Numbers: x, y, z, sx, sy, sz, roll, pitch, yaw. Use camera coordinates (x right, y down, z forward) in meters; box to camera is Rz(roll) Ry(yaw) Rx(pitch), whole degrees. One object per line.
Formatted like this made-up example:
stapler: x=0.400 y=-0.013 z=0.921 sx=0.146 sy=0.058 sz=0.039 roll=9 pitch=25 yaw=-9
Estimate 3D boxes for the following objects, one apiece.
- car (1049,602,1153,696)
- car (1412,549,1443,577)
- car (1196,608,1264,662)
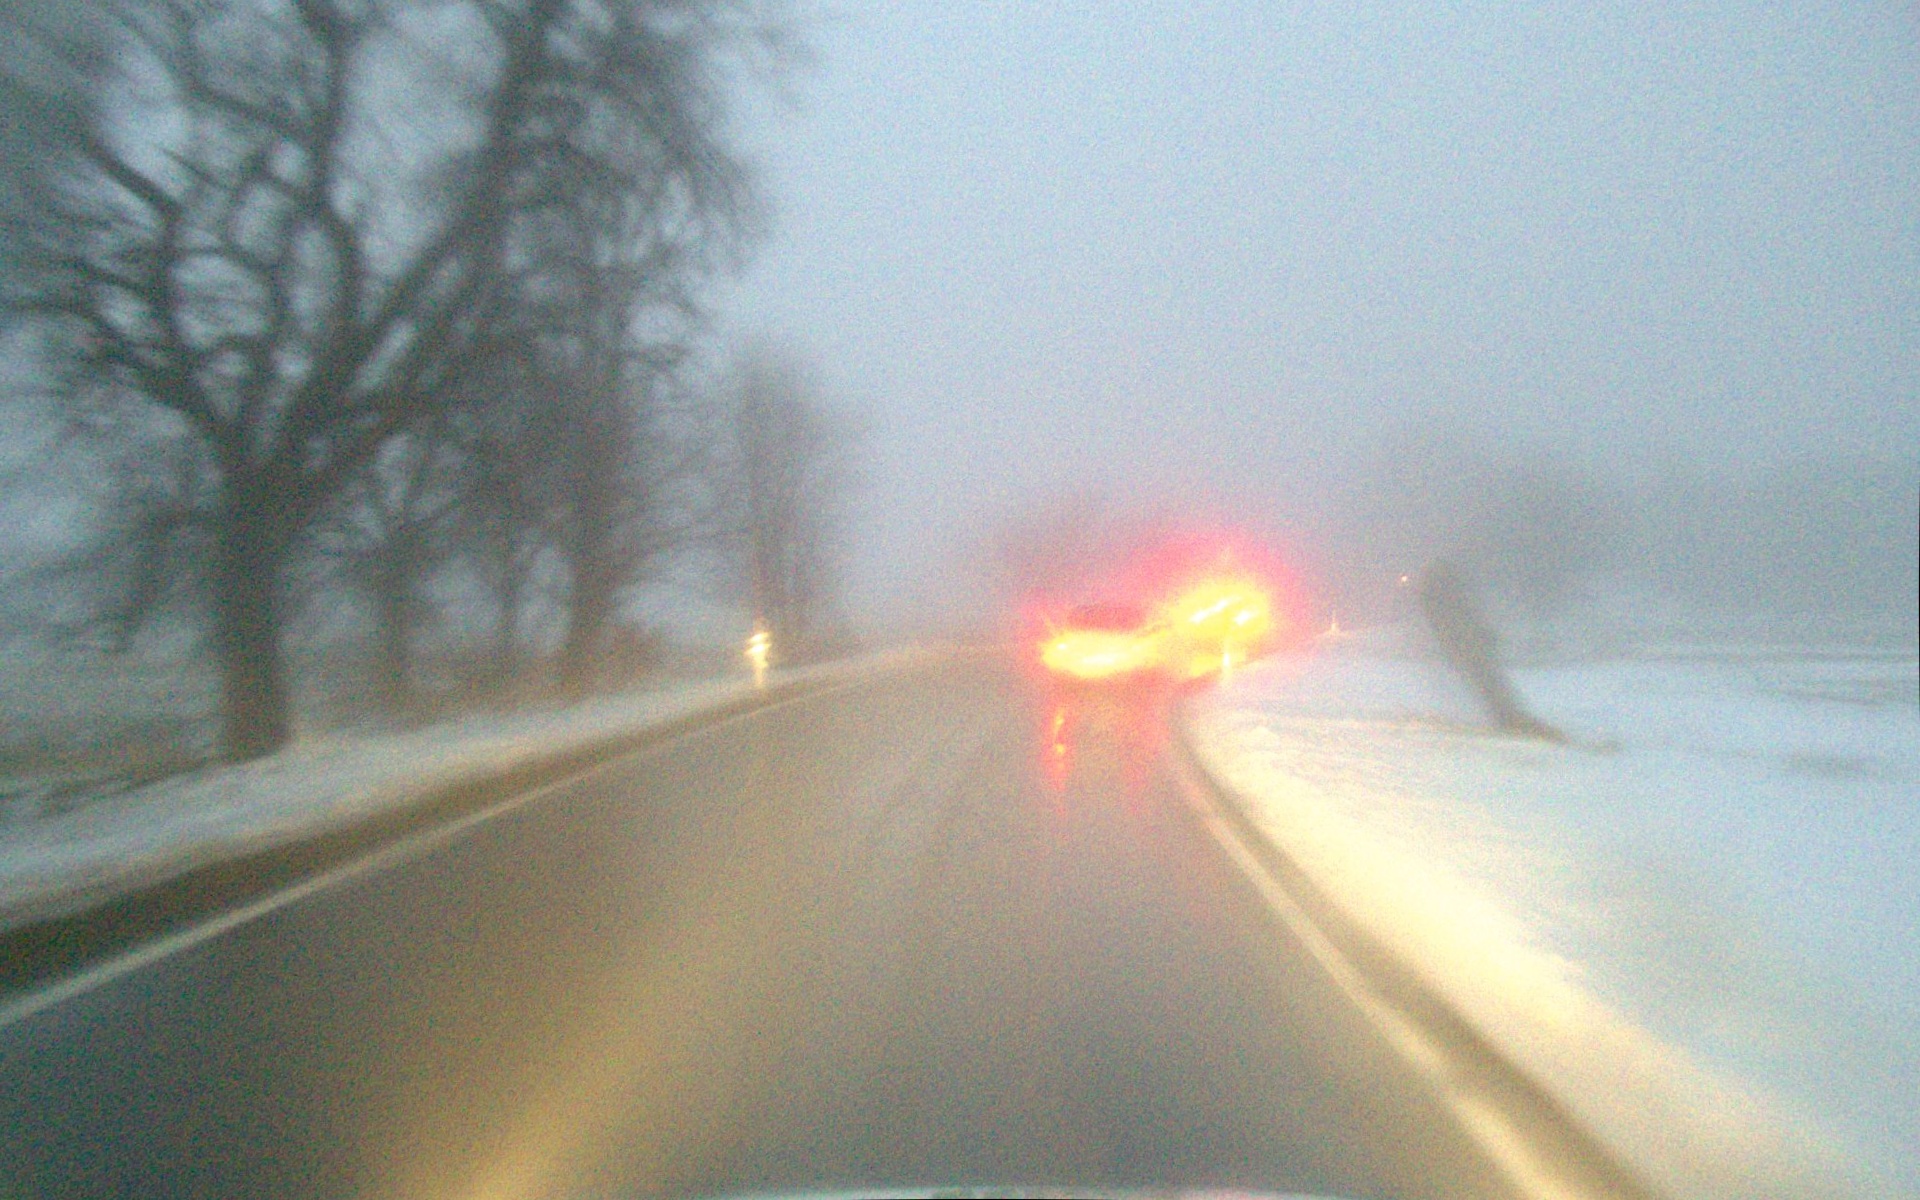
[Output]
car: x=2.480 y=0.802 z=29.081 sx=1.671 sy=1.489 sz=4.002 roll=1 pitch=0 yaw=5
car: x=27.812 y=-2.195 z=98.443 sx=1.491 sy=1.534 sz=3.053 roll=-1 pitch=-1 yaw=21
car: x=8.193 y=1.051 z=50.057 sx=1.448 sy=1.534 sz=3.053 roll=-1 pitch=0 yaw=21
